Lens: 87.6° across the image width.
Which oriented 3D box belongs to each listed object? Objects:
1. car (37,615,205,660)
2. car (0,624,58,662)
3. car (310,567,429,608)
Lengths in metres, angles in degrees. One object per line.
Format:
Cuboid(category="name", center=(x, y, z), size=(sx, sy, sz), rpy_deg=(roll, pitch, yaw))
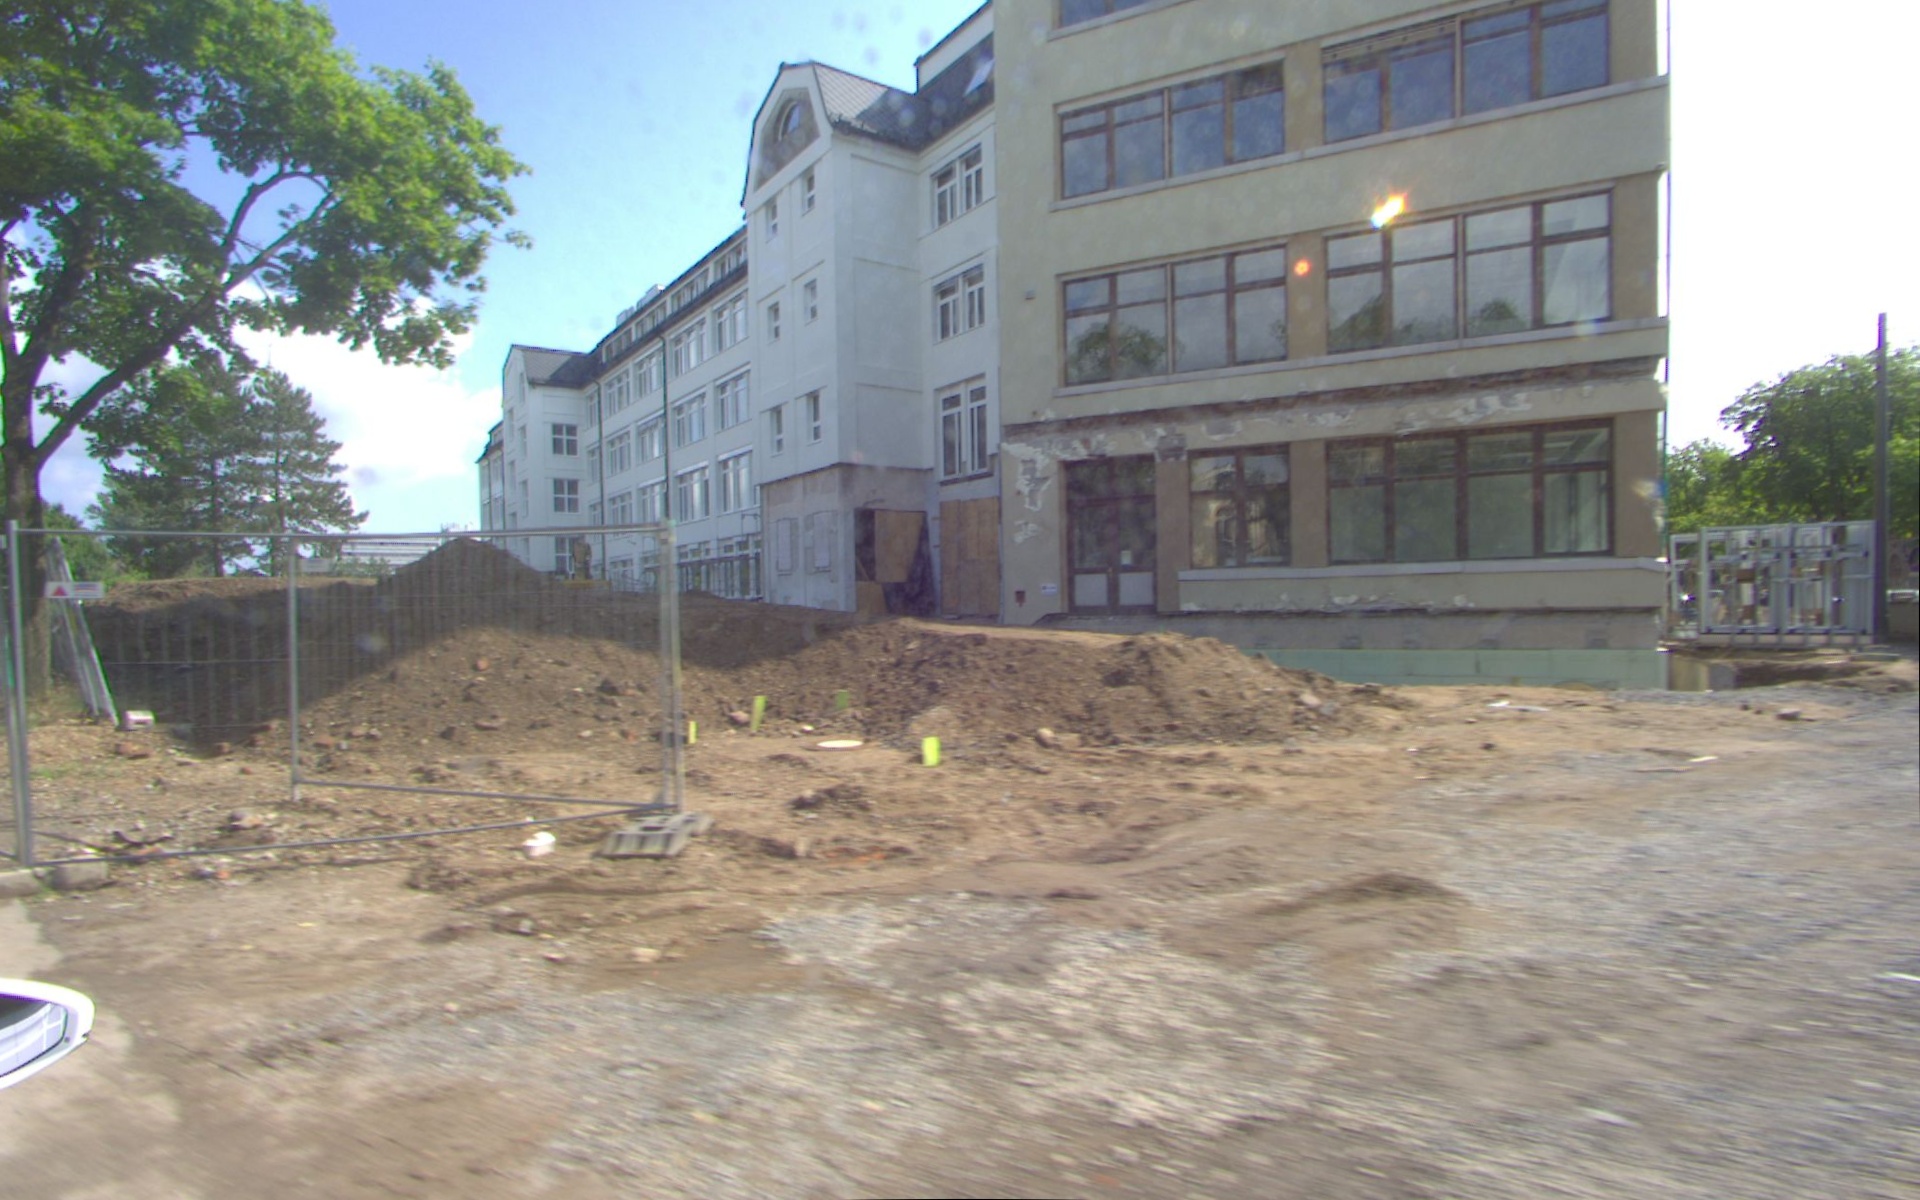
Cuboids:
Cuboid(category="car", center=(-32.686, 1.511, 39.224), size=(4.810, 1.444, 1.834), rpy_deg=(5, -7, -35))
Cuboid(category="car", center=(-41.052, 1.907, 43.682), size=(1.821, 1.444, 3.981), rpy_deg=(4, -7, -32))
Cuboid(category="car", center=(-28.493, -0.579, 48.386), size=(4.810, 1.444, 1.834), rpy_deg=(5, -7, -35))
